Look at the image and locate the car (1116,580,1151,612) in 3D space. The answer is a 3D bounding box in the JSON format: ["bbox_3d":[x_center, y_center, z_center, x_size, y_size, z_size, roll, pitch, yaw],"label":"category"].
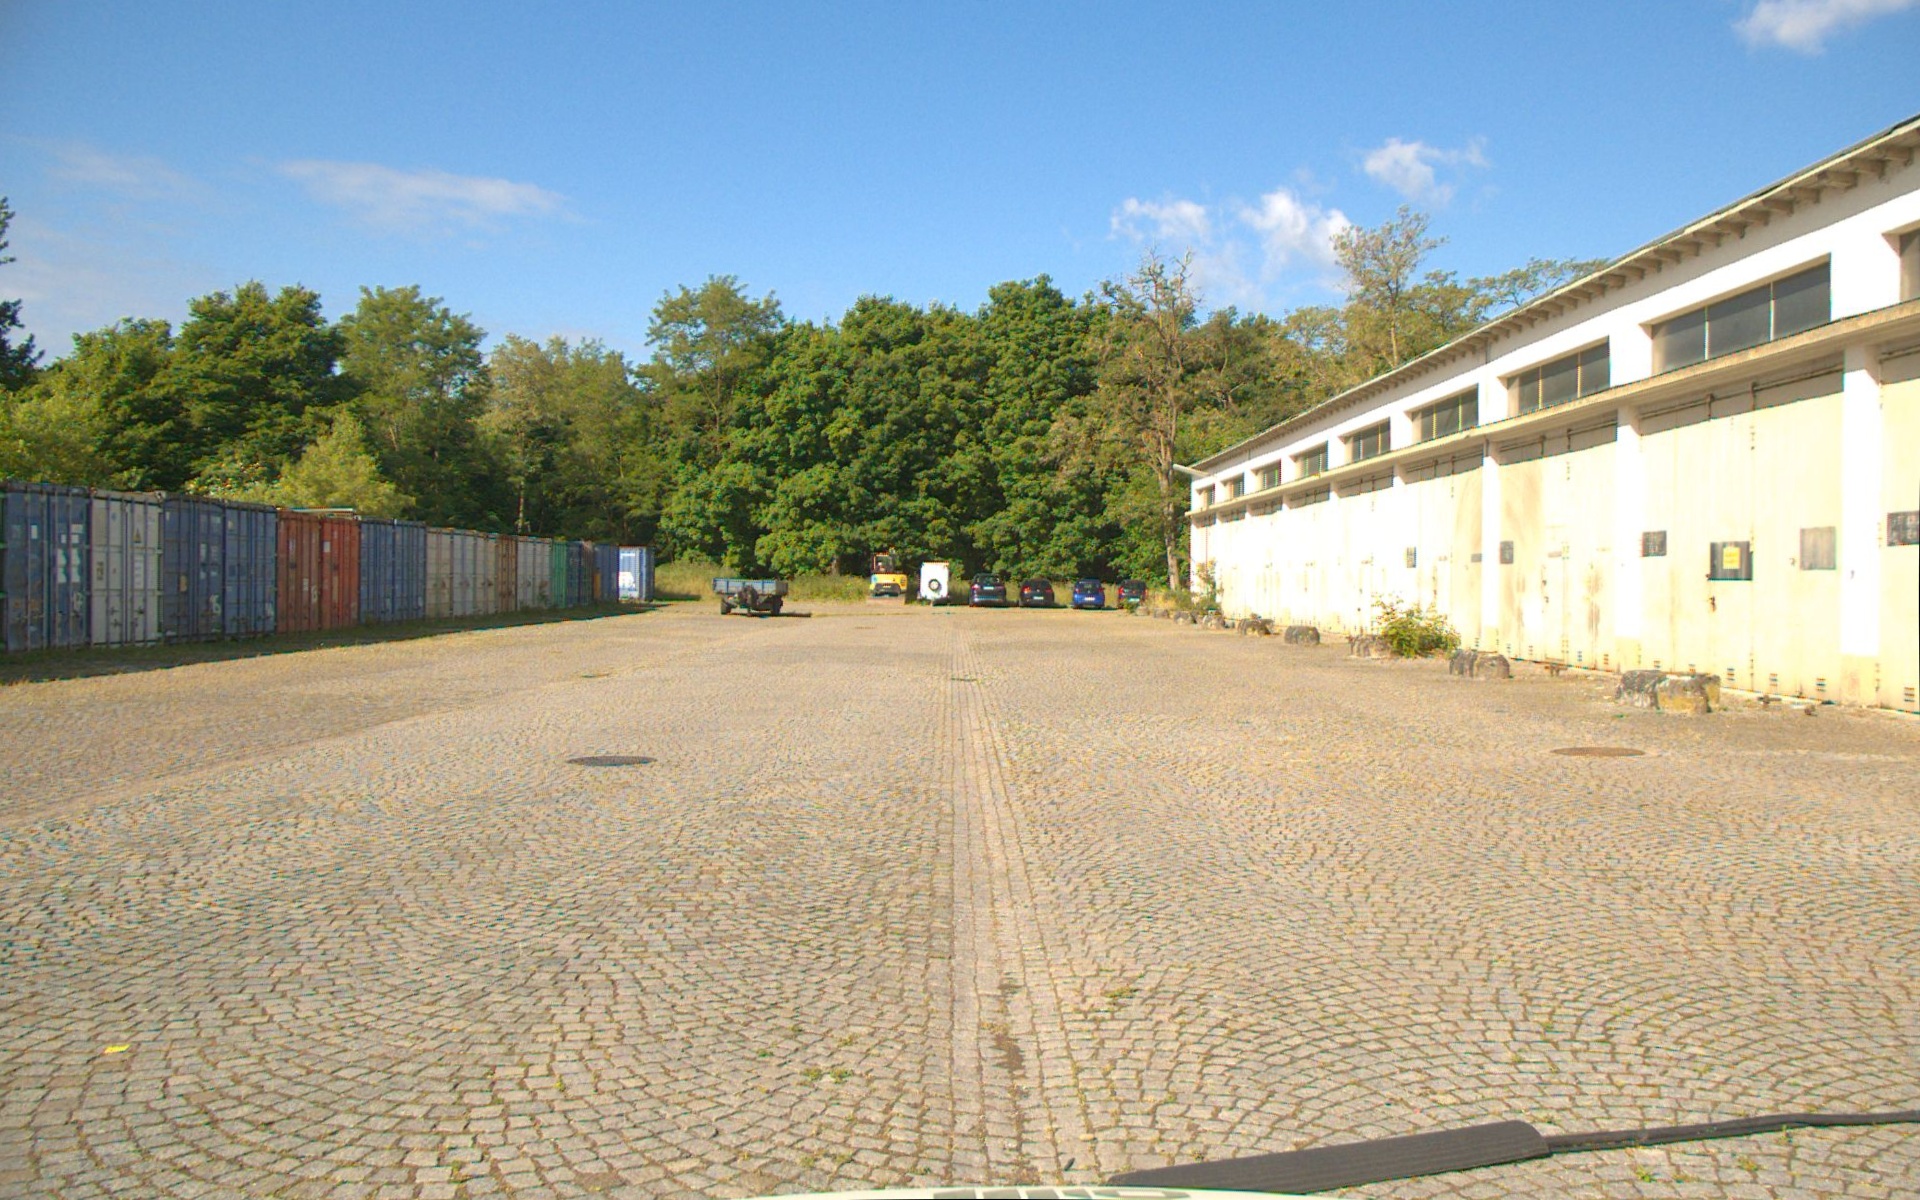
[{"bbox_3d":[8.885,-0.247,84.635,1.707,1.461,4.186,2,2,6],"label":"car"}]

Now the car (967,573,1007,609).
[{"bbox_3d":[1.343,-0.462,82.842,1.826,1.616,4.296,2,2,-1],"label":"car"}]

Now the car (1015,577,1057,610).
[{"bbox_3d":[3.779,-0.340,83.236,1.826,1.495,4.296,2,2,-1],"label":"car"}]

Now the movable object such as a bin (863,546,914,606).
[{"bbox_3d":[-3.646,-1.307,85.759,2.259,2.947,5.752,2,2,0],"label":"movable object such as a bin"}]

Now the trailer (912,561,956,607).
[{"bbox_3d":[-1.316,-0.869,85.192,2.148,2.131,5.751,2,2,-1],"label":"trailer"}]

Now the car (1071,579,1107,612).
[{"bbox_3d":[6.490,-0.257,83.202,1.707,1.461,4.186,2,2,5],"label":"car"}]

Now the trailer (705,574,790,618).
[{"bbox_3d":[-8.274,-0.187,65.036,2.651,1.491,6.246,2,1,-2],"label":"trailer"}]
